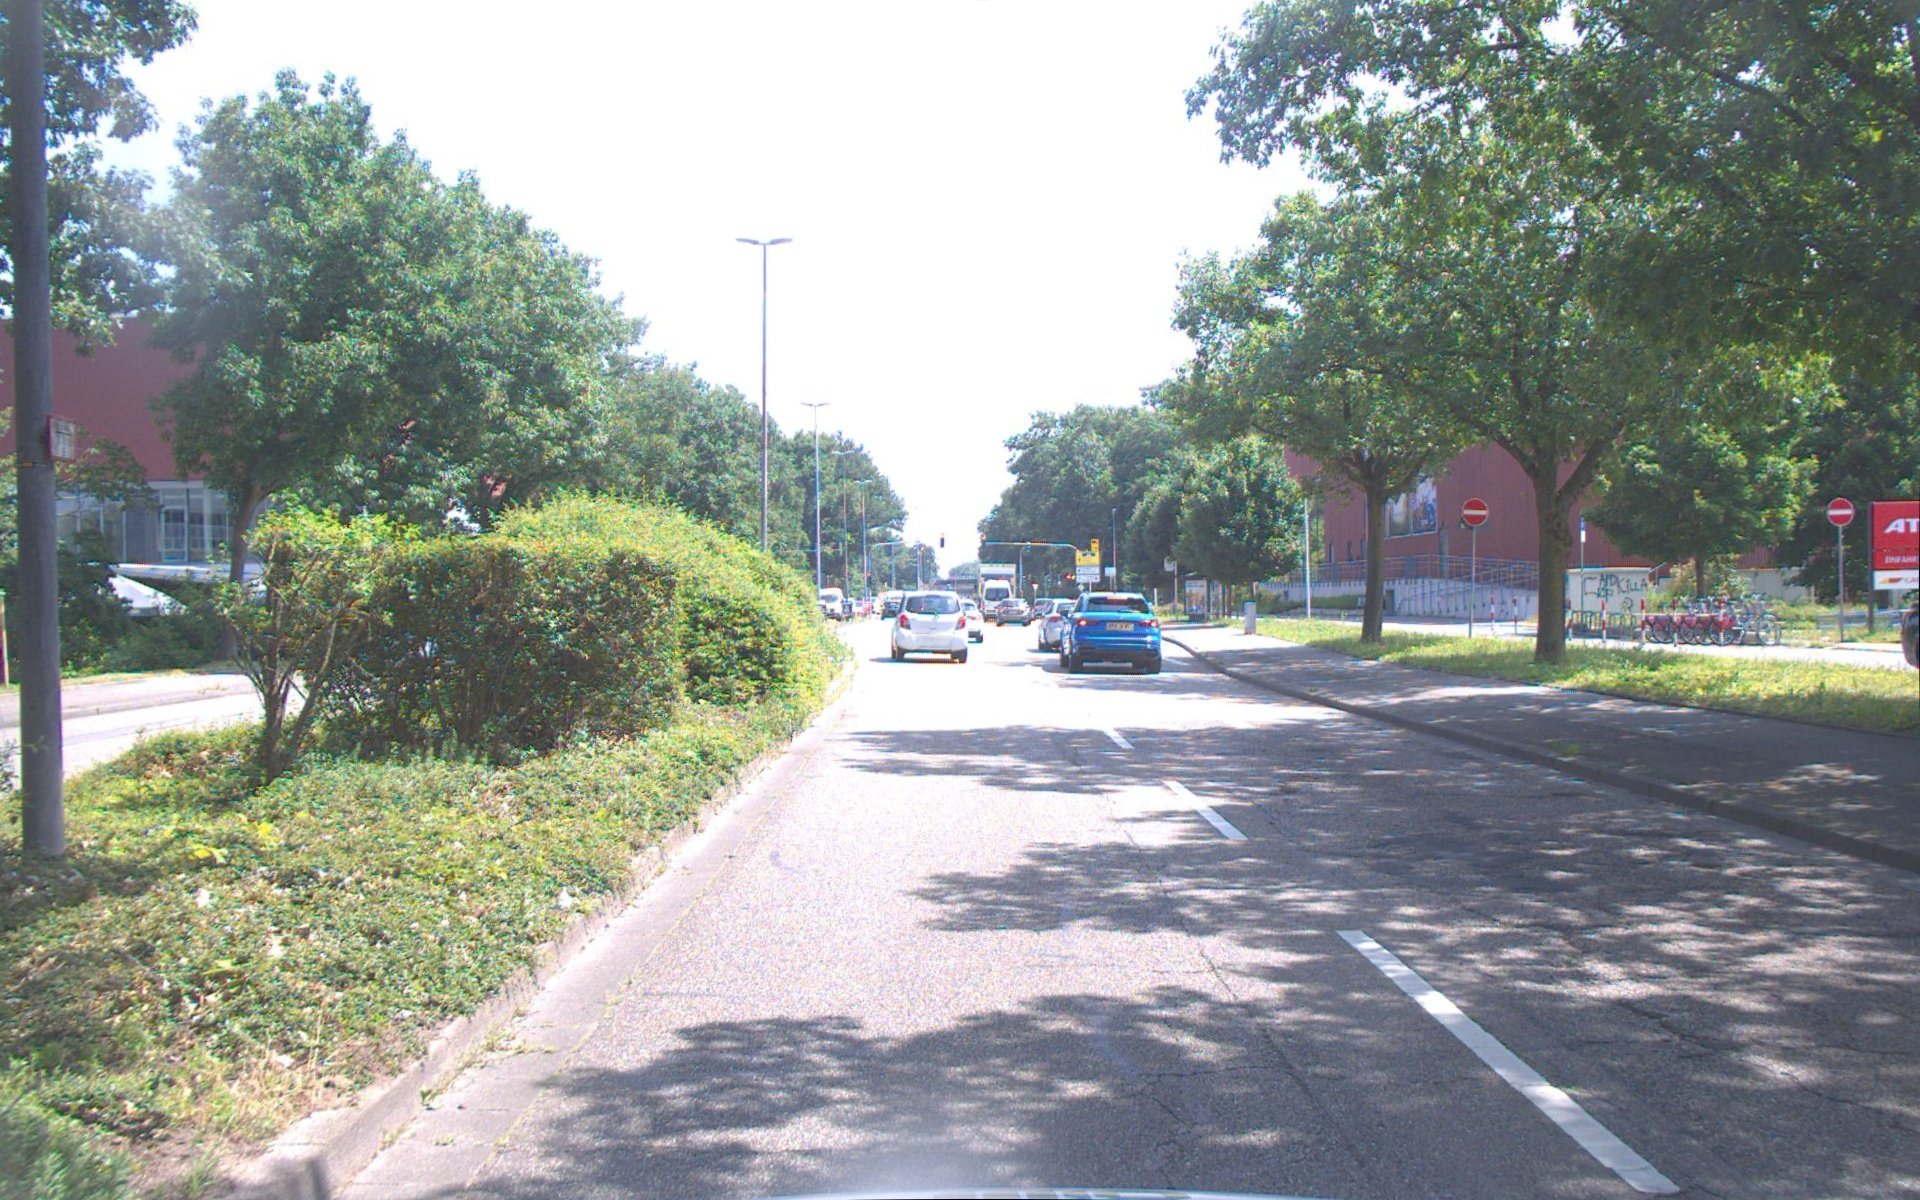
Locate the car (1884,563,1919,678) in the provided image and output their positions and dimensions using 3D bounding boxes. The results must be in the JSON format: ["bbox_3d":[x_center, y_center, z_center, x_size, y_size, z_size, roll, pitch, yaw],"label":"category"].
[{"bbox_3d":[12.779,0.238,19.187,1.665,1.449,4.655,-1,0,3],"label":"car"}]

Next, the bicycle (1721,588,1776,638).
[{"bbox_3d":[17.942,0.296,37.640,1.066,1.104,0.347,-1,0,-1],"label":"bicycle"}]

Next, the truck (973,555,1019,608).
[{"bbox_3d":[2.479,-1.267,117.537,2.872,3.563,9.156,-1,0,-1],"label":"truck"}]

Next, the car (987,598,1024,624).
[{"bbox_3d":[2.496,0.589,91.457,1.828,1.333,3.999,-2,0,-1],"label":"car"}]

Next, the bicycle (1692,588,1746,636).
[{"bbox_3d":[17.954,0.277,39.148,1.066,1.104,0.407,-1,0,-1],"label":"bicycle"}]

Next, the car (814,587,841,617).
[{"bbox_3d":[-10.241,0.158,128.396,1.743,2.322,4.752,0,-1,0],"label":"car"}]

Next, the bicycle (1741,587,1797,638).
[{"bbox_3d":[18.106,0.280,37.040,1.066,1.104,0.347,-1,0,-1],"label":"bicycle"}]

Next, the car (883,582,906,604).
[{"bbox_3d":[-6.505,-0.699,164.161,1.952,2.049,4.002,-1,0,3],"label":"car"}]

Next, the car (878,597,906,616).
[{"bbox_3d":[-5.001,0.453,122.050,1.953,1.310,3.999,-1,0,-1],"label":"car"}]

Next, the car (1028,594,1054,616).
[{"bbox_3d":[5.768,0.345,118.183,1.600,1.489,3.999,-1,0,-1],"label":"car"}]

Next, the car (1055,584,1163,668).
[{"bbox_3d":[2.994,0.513,33.980,1.772,1.621,4.348,0,0,-1],"label":"car"}]

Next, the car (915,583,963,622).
[{"bbox_3d":[-0.918,0.119,69.085,1.759,1.550,3.996,0,0,-5],"label":"car"}]

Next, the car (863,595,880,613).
[{"bbox_3d":[-6.880,0.297,128.559,1.341,1.331,2.691,-1,0,-3],"label":"car"}]

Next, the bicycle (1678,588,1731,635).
[{"bbox_3d":[17.922,0.282,39.811,1.066,1.104,0.407,-1,0,-1],"label":"bicycle"}]

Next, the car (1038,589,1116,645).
[{"bbox_3d":[3.242,0.473,46.514,1.828,1.499,3.999,0,0,-1],"label":"car"}]

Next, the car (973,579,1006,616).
[{"bbox_3d":[1.881,-0.189,107.113,1.953,2.295,3.999,-1,0,-1],"label":"car"}]

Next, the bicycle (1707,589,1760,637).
[{"bbox_3d":[17.992,0.302,38.480,1.066,1.104,0.347,-1,0,-1],"label":"bicycle"}]

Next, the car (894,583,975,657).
[{"bbox_3d":[-0.609,0.435,37.233,1.606,1.579,3.322,0,0,-5],"label":"car"}]

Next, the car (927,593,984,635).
[{"bbox_3d":[-0.159,0.486,56.184,1.846,1.378,3.999,0,0,-1],"label":"car"}]

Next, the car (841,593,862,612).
[{"bbox_3d":[-10.323,0.236,156.800,1.786,1.702,3.845,0,0,-7],"label":"car"}]
